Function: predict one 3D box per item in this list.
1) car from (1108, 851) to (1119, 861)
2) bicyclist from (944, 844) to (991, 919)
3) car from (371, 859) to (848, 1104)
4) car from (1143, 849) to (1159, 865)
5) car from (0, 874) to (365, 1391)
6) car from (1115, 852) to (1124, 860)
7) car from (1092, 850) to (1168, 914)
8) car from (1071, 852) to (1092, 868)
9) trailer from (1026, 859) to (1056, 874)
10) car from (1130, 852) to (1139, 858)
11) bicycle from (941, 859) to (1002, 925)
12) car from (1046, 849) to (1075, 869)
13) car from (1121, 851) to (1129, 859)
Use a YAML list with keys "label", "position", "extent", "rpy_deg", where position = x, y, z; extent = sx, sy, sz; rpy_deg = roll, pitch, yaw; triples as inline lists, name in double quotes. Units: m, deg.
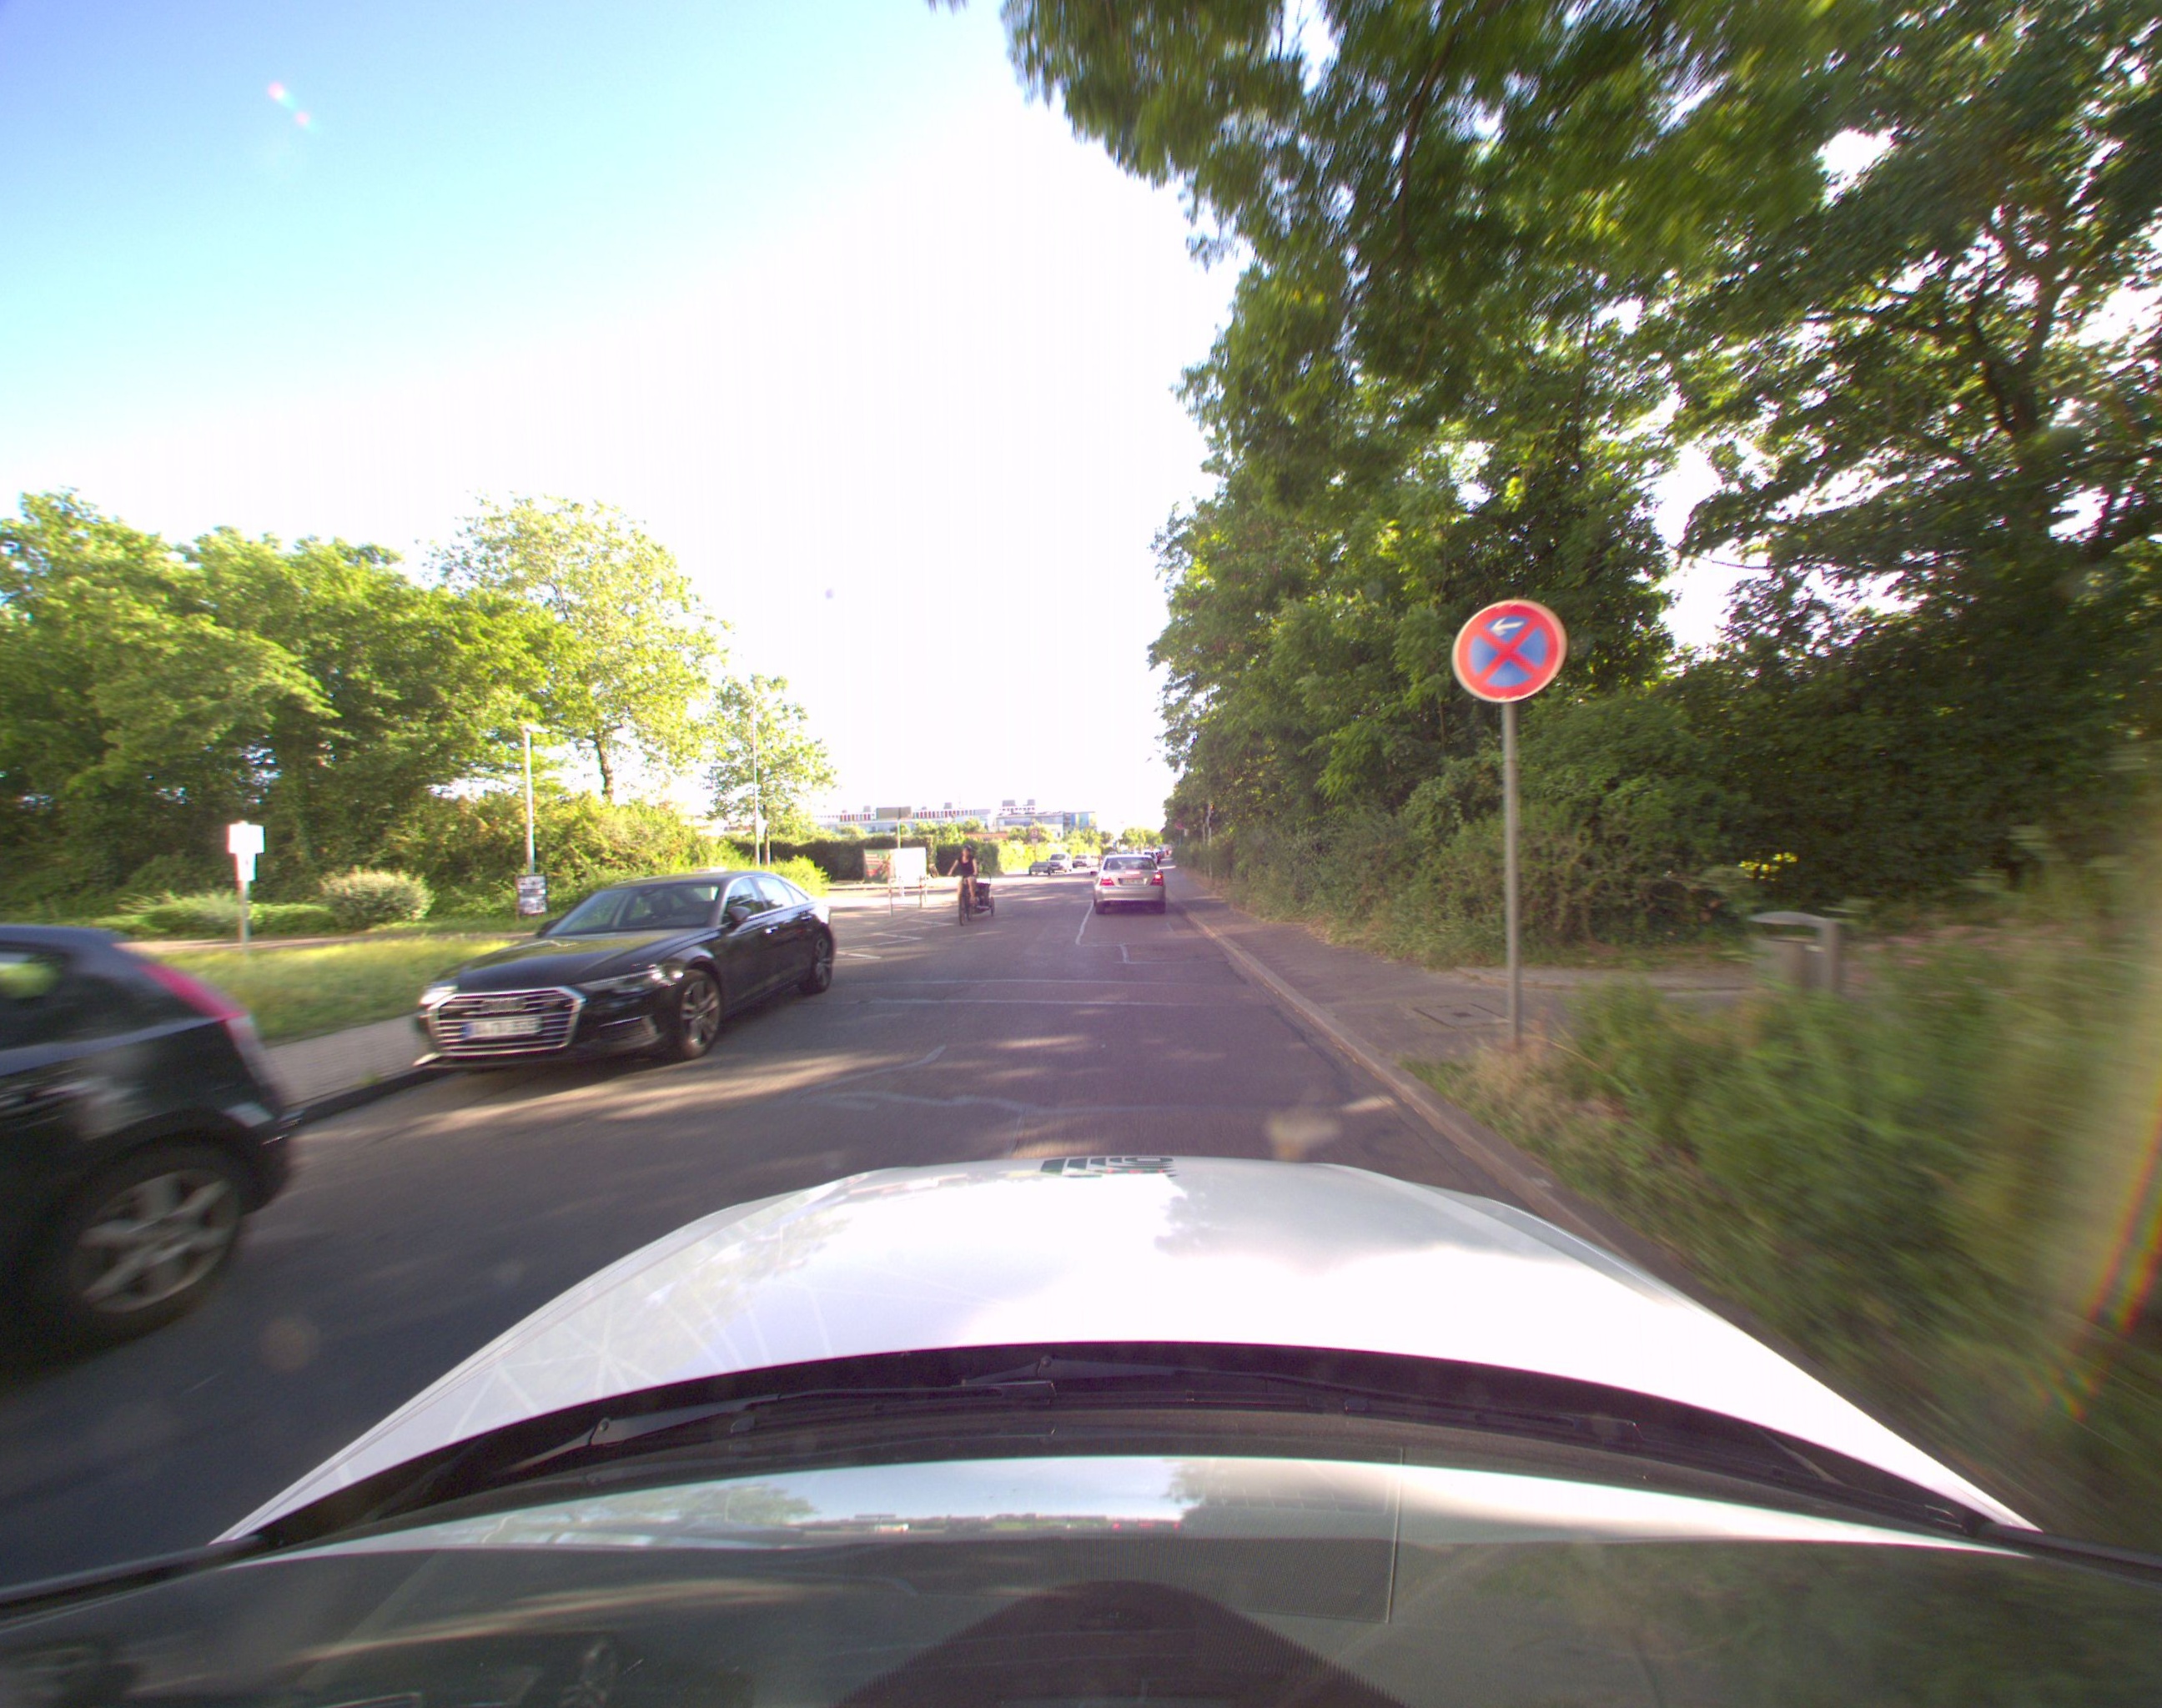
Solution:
- label: "car"
  position: [5.202, 0.302, 131.016]
  extent: [1.552, 1.495, 3.576]
  rpy_deg: [-3, 0, 6]
- label: "bicyclist"
  position: [-2.588, 0.610, 18.687]
  extent: [0.841, 1.658, 1.065]
  rpy_deg: [-2, 0, 2]
- label: "car"
  position: [-3.854, 0.876, 7.843]
  extent: [1.721, 1.463, 4.683]
  rpy_deg: [-3, 1, 1]
- label: "car"
  position: [7.168, 0.304, 83.692]
  extent: [1.548, 1.538, 3.562]
  rpy_deg: [0, 0, 6]
- label: "car"
  position: [-4.124, 0.892, 1.502]
  extent: [1.832, 1.454, 4.021]
  rpy_deg: [-4, 0, 3]
- label: "car"
  position: [7.066, 0.321, 149.089]
  extent: [1.552, 1.495, 3.576]
  rpy_deg: [0, 0, 6]
- label: "car"
  position: [1.172, 0.639, 20.800]
  extent: [1.731, 1.453, 4.001]
  rpy_deg: [-1, 0, 1]
- label: "car"
  position: [0.067, 0.592, 84.109]
  extent: [1.635, 1.556, 4.425]
  rpy_deg: [-3, 0, 6]
- label: "trailer"
  position: [-2.753, 0.864, 56.461]
  extent: [1.535, 0.953, 2.653]
  rpy_deg: [-1, 0, 8]
- label: "car"
  position: [12.887, 0.136, 195.194]
  extent: [1.845, 1.428, 4.141]
  rpy_deg: [-1, 0, 6]
- label: "bicycle"
  position: [-2.530, 0.841, 19.222]
  extent: [0.848, 1.370, 3.222]
  rpy_deg: [-2, 0, 2]
- label: "car"
  position: [-1.625, 0.403, 66.557]
  extent: [1.634, 1.600, 4.321]
  rpy_deg: [-1, 0, 8]
- label: "car"
  position: [8.974, 0.214, 166.058]
  extent: [1.552, 1.495, 3.765]
  rpy_deg: [-3, 0, 6]
